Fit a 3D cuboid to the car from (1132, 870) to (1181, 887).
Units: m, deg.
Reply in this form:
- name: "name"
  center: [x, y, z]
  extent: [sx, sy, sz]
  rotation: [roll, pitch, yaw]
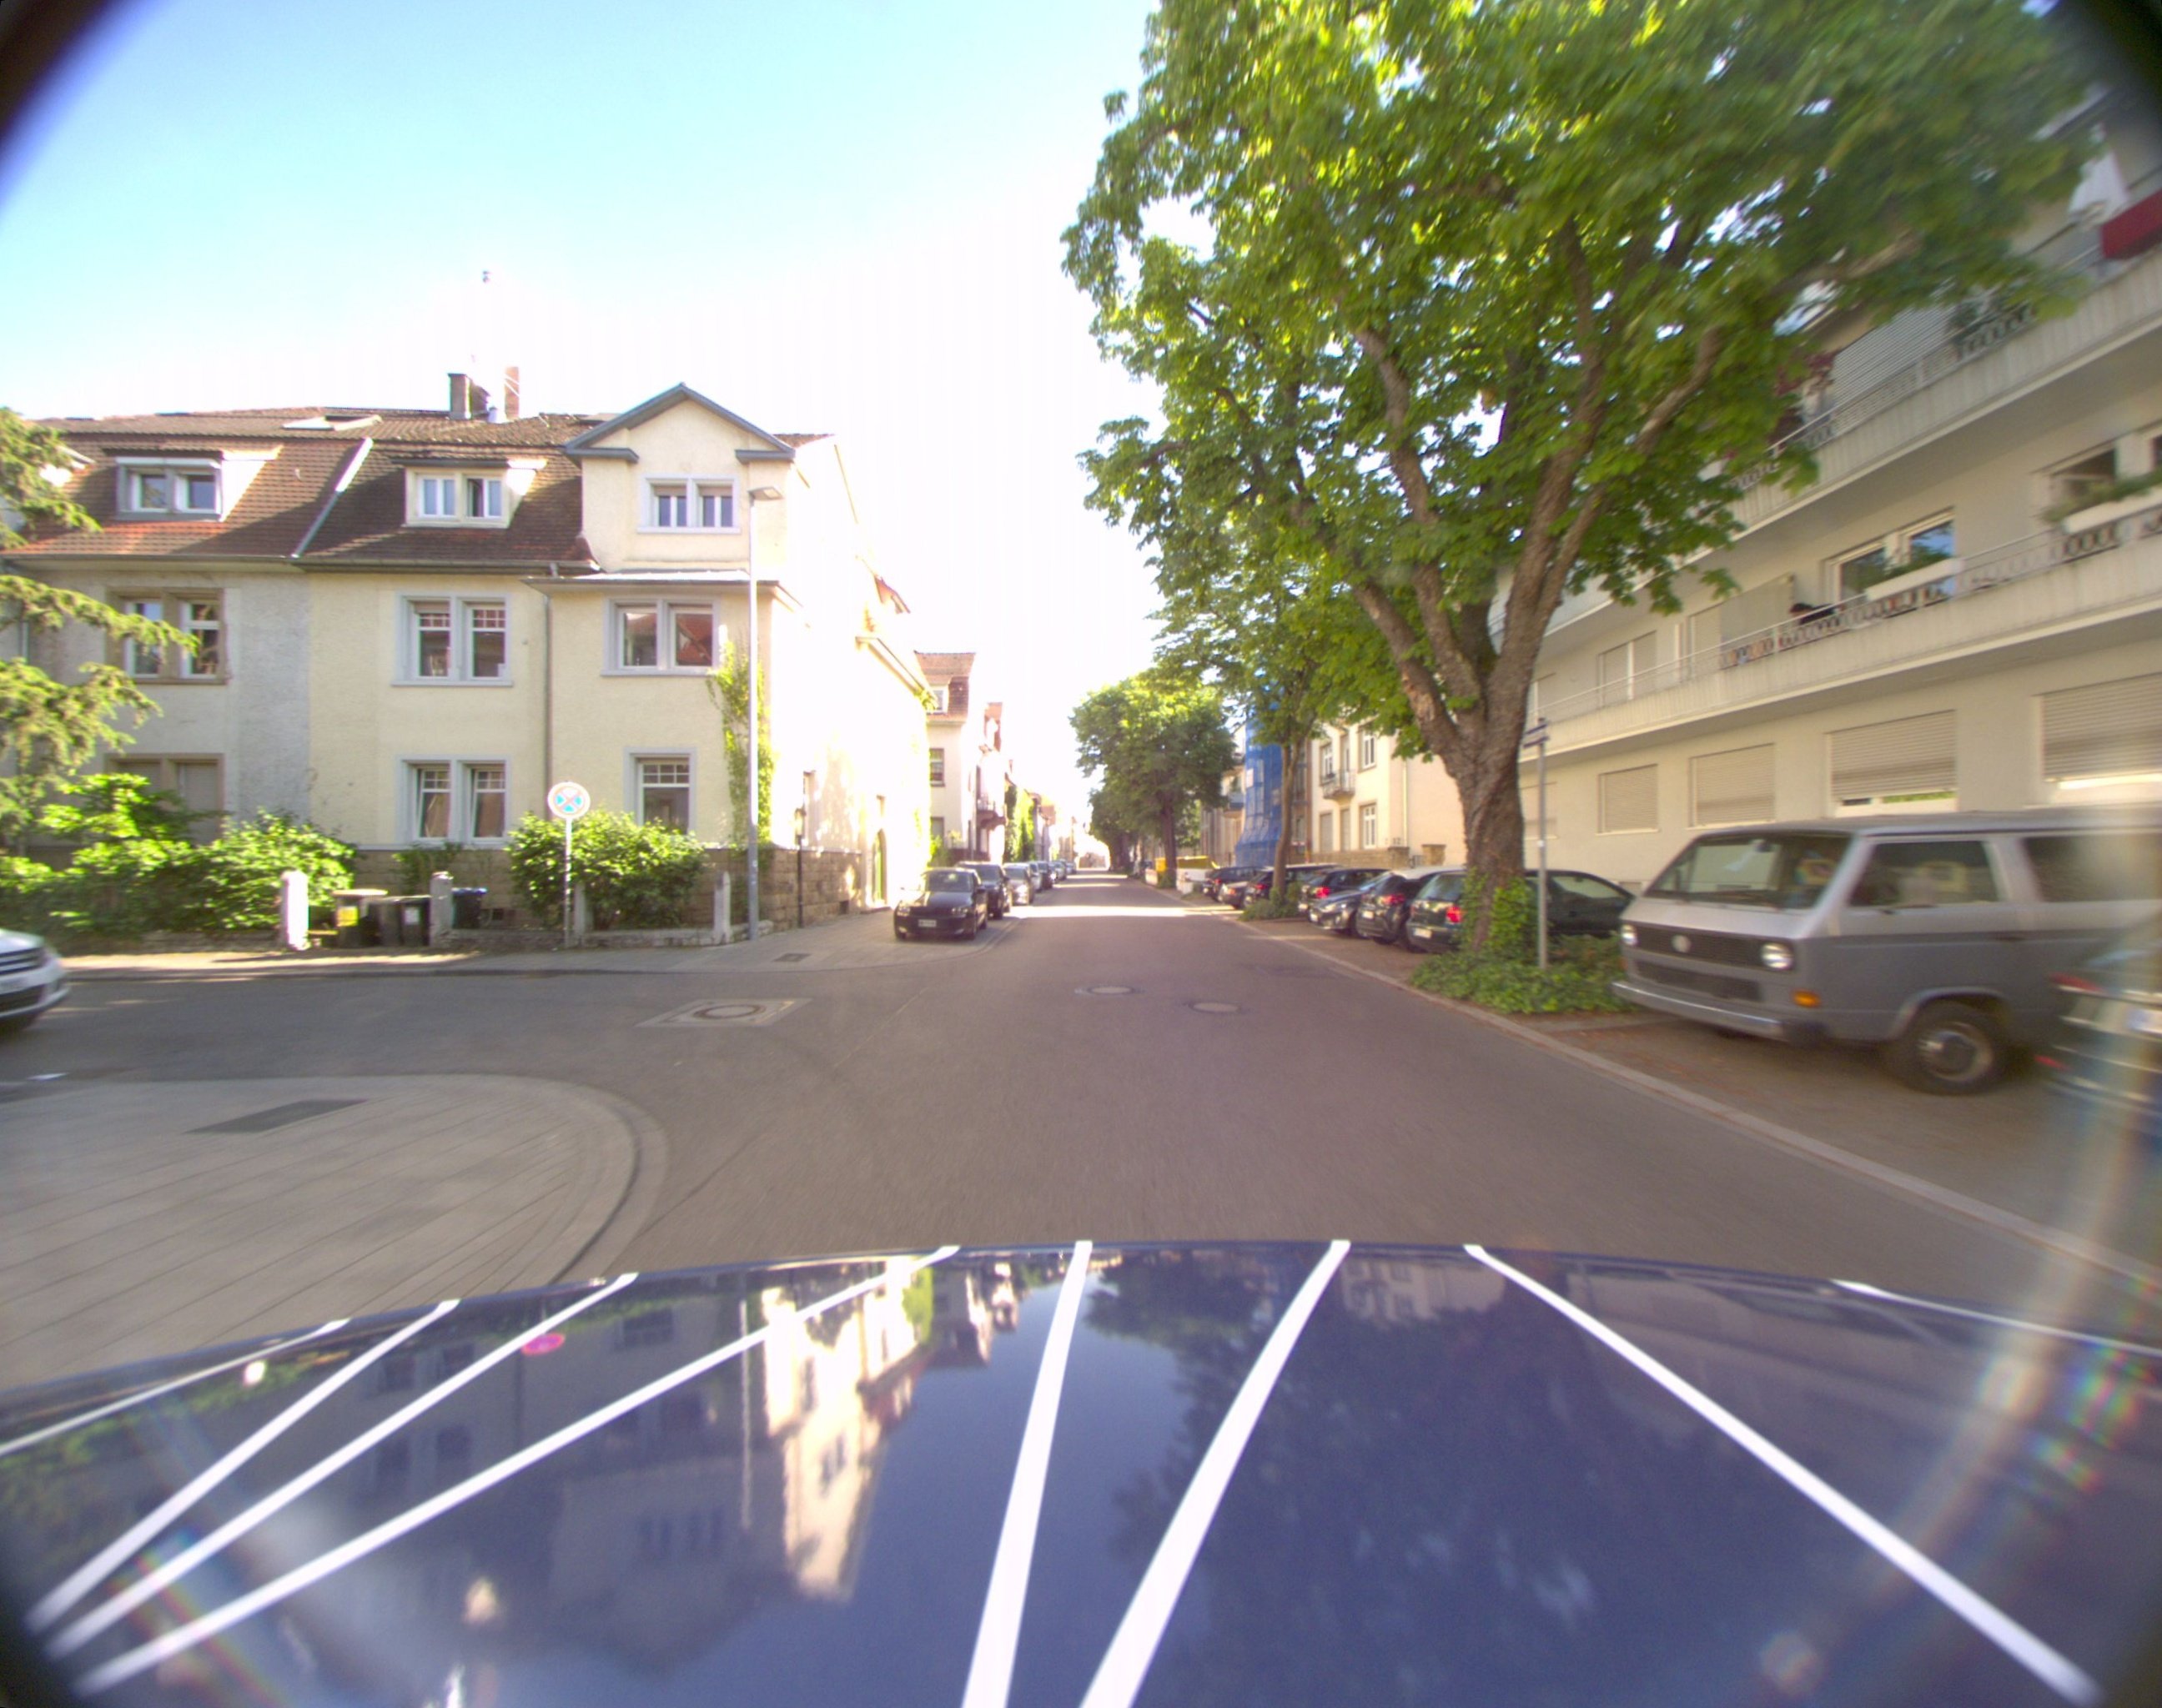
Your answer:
- name: "car"
  center: [6.639, 2.176, 67.379]
  extent: [4.150, 1.392, 1.710]
  rotation: [-1, -1, 0]

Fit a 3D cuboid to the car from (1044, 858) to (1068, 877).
- name: "car"
  center: [-2.194, 1.222, 67.679]
  extent: [1.872, 1.635, 4.200]
  rotation: [1, -1, 1]

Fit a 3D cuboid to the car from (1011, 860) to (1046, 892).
- name: "car"
  center: [-2.746, 1.138, 40.100]
  extent: [1.629, 1.540, 2.869]
  rotation: [-1, 0, 0]

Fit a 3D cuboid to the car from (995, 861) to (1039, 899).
- name: "car"
  center: [-2.773, 1.107, 33.508]
  extent: [1.579, 1.540, 3.468]
  rotation: [1, 0, 0]

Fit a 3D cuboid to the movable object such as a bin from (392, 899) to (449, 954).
- name: "movable object such as a bin"
  center: [-12.327, 1.344, 14.200]
  extent: [0.520, 0.947, 0.576]
  rotation: [-2, 1, 1]

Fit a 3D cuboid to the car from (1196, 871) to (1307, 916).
- name: "car"
  center: [6.739, 1.535, 30.276]
  extent: [3.883, 1.505, 1.832]
  rotation: [-3, 0, -8]

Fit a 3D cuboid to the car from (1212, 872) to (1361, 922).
- name: "car"
  center: [6.973, 1.442, 26.055]
  extent: [4.601, 1.597, 1.833]
  rotation: [0, 0, -2]

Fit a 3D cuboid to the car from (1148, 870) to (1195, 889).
- name: "car"
  center: [7.458, 2.093, 62.978]
  extent: [3.735, 1.456, 1.715]
  rotation: [1, -1, 2]

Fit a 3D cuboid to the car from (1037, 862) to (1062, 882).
- name: "car"
  center: [-2.299, 1.319, 56.299]
  extent: [1.648, 1.445, 4.503]
  rotation: [-1, -1, 0]

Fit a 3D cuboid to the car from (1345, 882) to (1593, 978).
- name: "car"
  center: [6.768, 1.300, 13.558]
  extent: [3.486, 1.449, 1.798]
  rotation: [-2, 0, 2]

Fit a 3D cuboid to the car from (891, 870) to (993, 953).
- name: "car"
  center: [-2.969, 1.175, 16.935]
  extent: [1.667, 1.511, 4.000]
  rotation: [1, 0, -2]

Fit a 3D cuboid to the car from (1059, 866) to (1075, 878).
- name: "car"
  center: [-1.824, 2.352, 98.705]
  extent: [1.813, 1.546, 4.107]
  rotation: [0, -1, 2]

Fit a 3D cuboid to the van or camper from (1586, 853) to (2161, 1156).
- name: "van or camper"
  center: [6.761, 0.953, 5.809]
  extent: [4.509, 1.903, 1.964]
  rotation: [0, 0, -1]

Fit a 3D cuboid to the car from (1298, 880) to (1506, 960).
- name: "car"
  center: [6.651, 1.346, 16.061]
  extent: [3.652, 1.454, 1.710]
  rotation: [-2, 0, 3]

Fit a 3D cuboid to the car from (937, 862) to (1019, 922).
- name: "car"
  center: [-2.966, 1.050, 22.700]
  extent: [1.796, 1.511, 4.366]
  rotation: [1, 0, 0]

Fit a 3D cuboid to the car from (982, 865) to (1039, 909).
- name: "car"
  center: [-2.607, 1.195, 28.831]
  extent: [1.713, 1.427, 4.193]
  rotation: [2, 0, 0]

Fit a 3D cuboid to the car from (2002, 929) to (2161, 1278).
- name: "car"
  center: [6.753, 1.099, 3.044]
  extent: [3.954, 1.489, 1.662]
  rotation: [-1, 0, 3]

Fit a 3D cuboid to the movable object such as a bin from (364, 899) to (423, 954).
- name: "movable object such as a bin"
  center: [-12.901, 1.355, 14.271]
  extent: [0.520, 0.947, 0.576]
  rotation: [-2, 1, 1]

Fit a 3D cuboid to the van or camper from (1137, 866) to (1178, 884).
- name: "van or camper"
  center: [7.713, 2.078, 76.719]
  extent: [3.954, 1.762, 1.810]
  rotation: [-1, -1, 0]

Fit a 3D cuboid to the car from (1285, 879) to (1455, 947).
- name: "car"
  center: [7.025, 1.406, 18.663]
  extent: [3.488, 1.412, 1.709]
  rotation: [-2, 0, -4]

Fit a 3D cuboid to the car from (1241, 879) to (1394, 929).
- name: "car"
  center: [7.221, 1.521, 23.491]
  extent: [4.198, 1.432, 1.713]
  rotation: [0, 0, 0]

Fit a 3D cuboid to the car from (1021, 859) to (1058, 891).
- name: "car"
  center: [-2.396, 1.203, 45.026]
  extent: [1.782, 1.686, 4.320]
  rotation: [-2, 0, 1]

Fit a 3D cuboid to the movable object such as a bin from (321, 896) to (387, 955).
- name: "movable object such as a bin"
  center: [-13.466, 1.316, 14.091]
  extent: [0.520, 1.016, 0.666]
  rotation: [-2, 1, 1]

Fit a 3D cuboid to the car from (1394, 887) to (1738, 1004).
- name: "car"
  center: [6.919, 1.270, 11.134]
  extent: [3.932, 1.406, 1.715]
  rotation: [-2, -1, -1]

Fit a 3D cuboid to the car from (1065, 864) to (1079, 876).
- name: "car"
  center: [-1.213, 2.284, 108.376]
  extent: [1.822, 1.529, 4.161]
  rotation: [-2, -1, 1]

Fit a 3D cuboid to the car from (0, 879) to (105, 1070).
- name: "car"
  center: [-11.159, 1.052, 6.154]
  extent: [3.998, 1.582, 1.790]
  rotation: [0, 2, -2]
